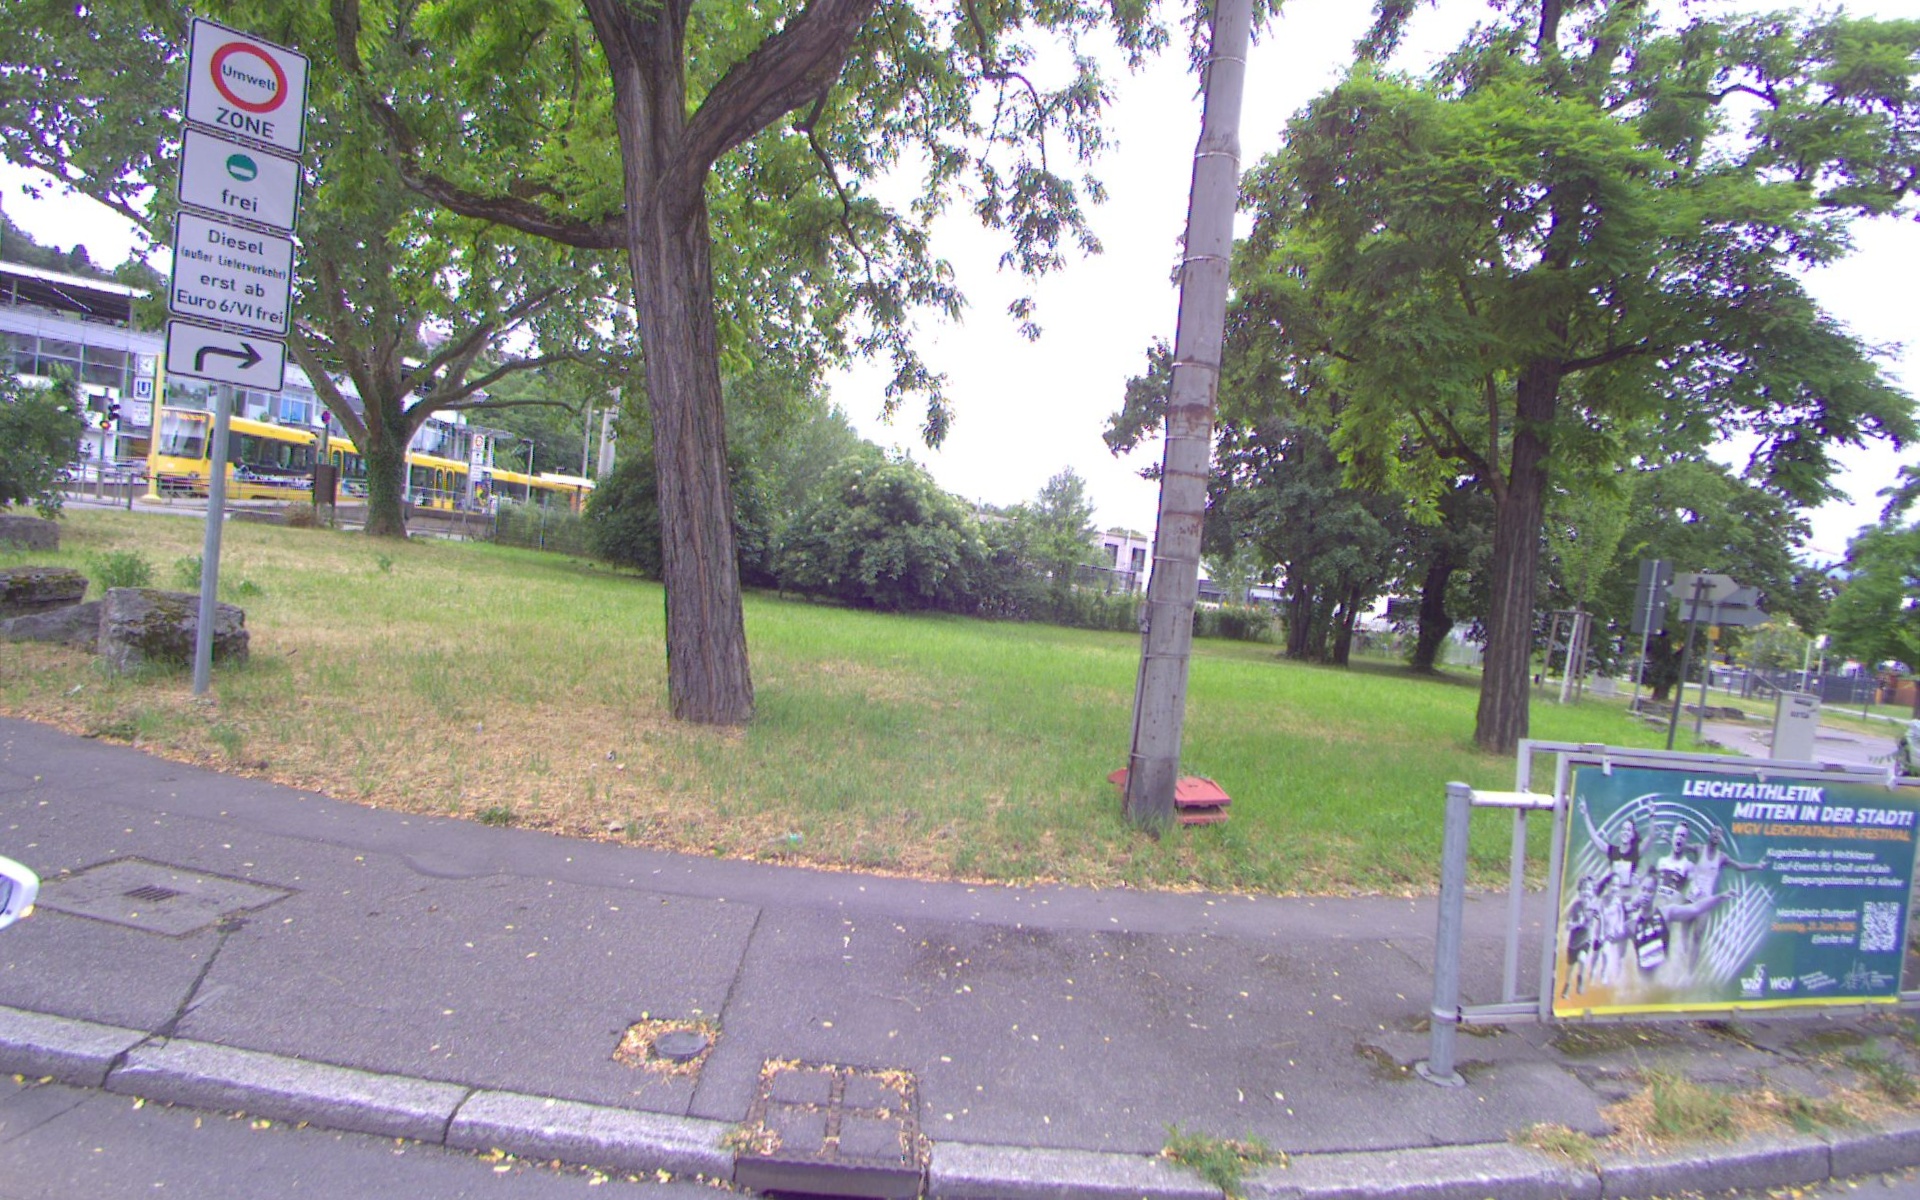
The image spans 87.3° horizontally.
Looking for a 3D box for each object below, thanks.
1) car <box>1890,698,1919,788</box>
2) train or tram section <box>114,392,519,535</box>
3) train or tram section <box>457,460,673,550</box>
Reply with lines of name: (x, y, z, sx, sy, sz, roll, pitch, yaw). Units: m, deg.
car: (17.912, 2.626, 17.190, 2.014, 1.555, 3.933, 5, -1, 30)
train or tram section: (-27.545, -5.560, 45.912, 3.215, 3.713, 19.168, 7, 2, 10)
train or tram section: (-24.481, -5.719, 64.816, 3.215, 3.713, 19.168, 7, 2, 10)
